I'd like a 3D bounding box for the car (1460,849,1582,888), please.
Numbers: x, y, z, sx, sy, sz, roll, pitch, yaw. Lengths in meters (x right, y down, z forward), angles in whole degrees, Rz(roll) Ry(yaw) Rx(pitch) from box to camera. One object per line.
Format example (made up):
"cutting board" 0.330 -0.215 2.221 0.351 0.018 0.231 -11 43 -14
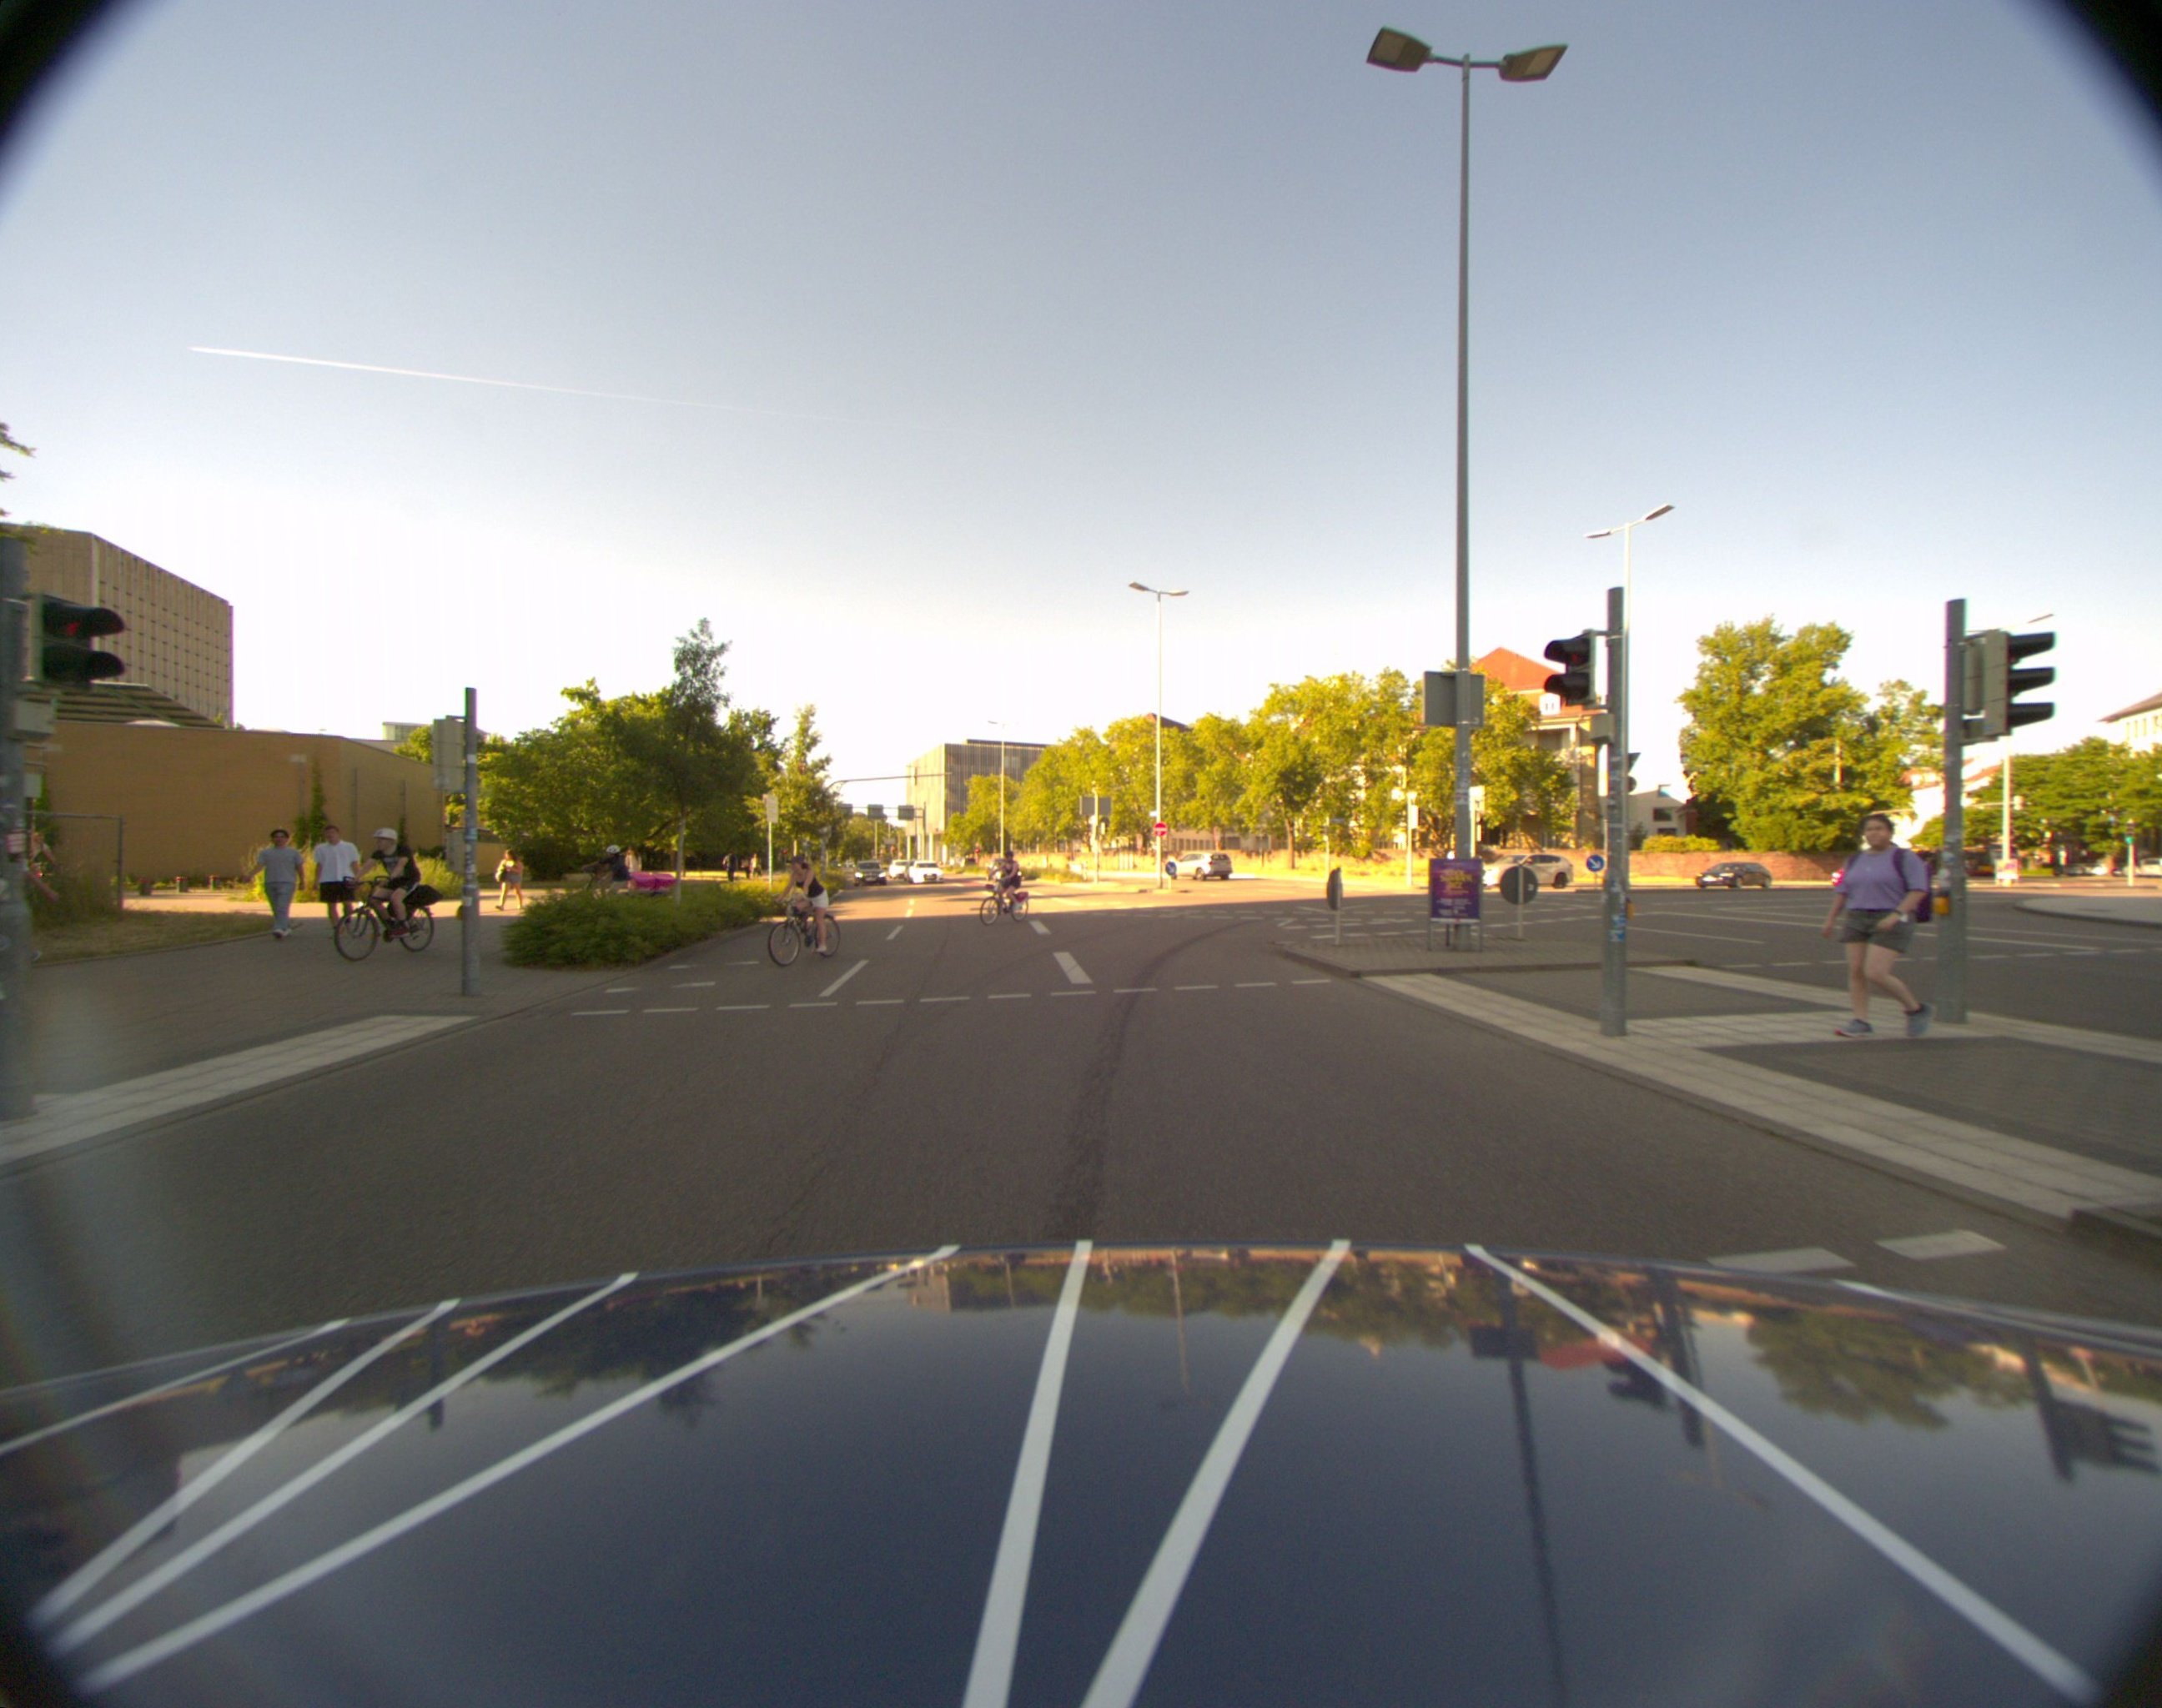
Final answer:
"car" 20.247 0.680 35.054 4.609 1.673 2.193 0 -2 -14

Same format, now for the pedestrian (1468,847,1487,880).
"pedestrian" 20.910 0.491 40.094 0.791 1.644 0.713 2 4 22

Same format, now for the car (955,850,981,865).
"car" -12.498 0.396 83.930 2.002 1.674 4.622 0 0 -19

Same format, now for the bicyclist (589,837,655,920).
"bicyclist" -10.515 0.540 17.425 0.778 1.823 1.095 1 1 40

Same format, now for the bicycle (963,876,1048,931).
"bicycle" -1.716 1.118 17.679 0.717 1.115 2.070 -1 1 37

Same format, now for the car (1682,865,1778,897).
"car" 34.737 1.440 40.663 4.613 1.576 2.191 0 -2 -26

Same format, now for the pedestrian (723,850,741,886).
"pedestrian" -16.730 0.652 36.440 0.713 1.703 0.733 0 1 -19

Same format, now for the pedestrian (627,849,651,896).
"pedestrian" -16.240 0.654 27.927 0.677 1.694 0.875 0 1 -25

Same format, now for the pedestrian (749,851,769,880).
"pedestrian" -19.129 0.686 45.146 1.020 1.739 0.848 0 0 -25

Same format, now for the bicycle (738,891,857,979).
"bicycle" -4.260 1.184 11.583 0.718 1.115 1.871 -1 0 15

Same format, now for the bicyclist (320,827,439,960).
"bicyclist" -10.132 0.545 11.025 0.780 1.820 1.092 0 0 -10

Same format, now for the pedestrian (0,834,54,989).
"pedestrian" -12.118 0.622 8.406 0.623 1.689 0.630 0 1 -11

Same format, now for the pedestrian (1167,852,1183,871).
"pedestrian" 7.628 0.602 61.593 0.975 1.527 0.921 0 1 -19

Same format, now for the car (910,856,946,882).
"car" -9.475 0.908 46.876 1.805 1.510 4.425 0 0 -16

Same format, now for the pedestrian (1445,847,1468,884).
"pedestrian" 19.612 0.600 39.696 0.871 1.884 0.713 1 4 14

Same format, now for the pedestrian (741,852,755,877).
"pedestrian" -20.407 0.656 46.560 0.764 1.534 0.845 0 0 -25

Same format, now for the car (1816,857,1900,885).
"car" 47.281 1.026 46.208 4.613 1.576 2.191 0 -2 -26

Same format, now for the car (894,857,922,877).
"car" -13.744 1.006 60.114 1.927 1.510 4.012 0 0 -16

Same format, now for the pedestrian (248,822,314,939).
"pedestrian" -13.179 0.420 12.522 0.575 1.858 0.624 1 1 32

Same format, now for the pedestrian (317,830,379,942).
"pedestrian" -12.512 0.524 12.974 0.575 1.858 0.624 1 1 32

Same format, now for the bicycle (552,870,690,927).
"bicycle" -10.502 0.976 17.450 0.778 1.149 2.586 1 0 40

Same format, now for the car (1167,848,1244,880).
"car" 6.972 0.519 43.006 2.159 1.611 4.353 -3 2 -26

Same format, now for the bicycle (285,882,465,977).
"bicycle" -10.136 1.021 11.064 0.780 1.149 2.289 0 0 -10

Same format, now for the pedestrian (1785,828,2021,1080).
"pedestrian" 6.023 0.689 5.620 0.927 1.731 0.757 0 1 -4

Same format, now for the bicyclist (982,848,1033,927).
"bicyclist" -1.707 0.765 17.687 0.715 1.777 0.851 -1 1 37

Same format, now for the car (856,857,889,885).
"car" -12.245 0.955 44.606 1.805 1.510 3.994 0 0 -16

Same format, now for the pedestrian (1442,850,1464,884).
"pedestrian" 19.119 0.665 39.067 0.871 1.665 0.713 1 4 14

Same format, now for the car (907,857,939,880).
"car" -11.237 0.982 53.895 1.927 1.510 4.012 0 0 -16

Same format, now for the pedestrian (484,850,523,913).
"pedestrian" -14.784 0.694 19.474 0.623 1.565 0.638 0 1 -19

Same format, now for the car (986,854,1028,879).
"car" -4.701 0.779 48.019 1.927 1.510 4.012 0 0 -16

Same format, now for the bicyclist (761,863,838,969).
"bicyclist" -4.268 0.919 11.562 0.716 1.539 0.851 -1 -1 15
